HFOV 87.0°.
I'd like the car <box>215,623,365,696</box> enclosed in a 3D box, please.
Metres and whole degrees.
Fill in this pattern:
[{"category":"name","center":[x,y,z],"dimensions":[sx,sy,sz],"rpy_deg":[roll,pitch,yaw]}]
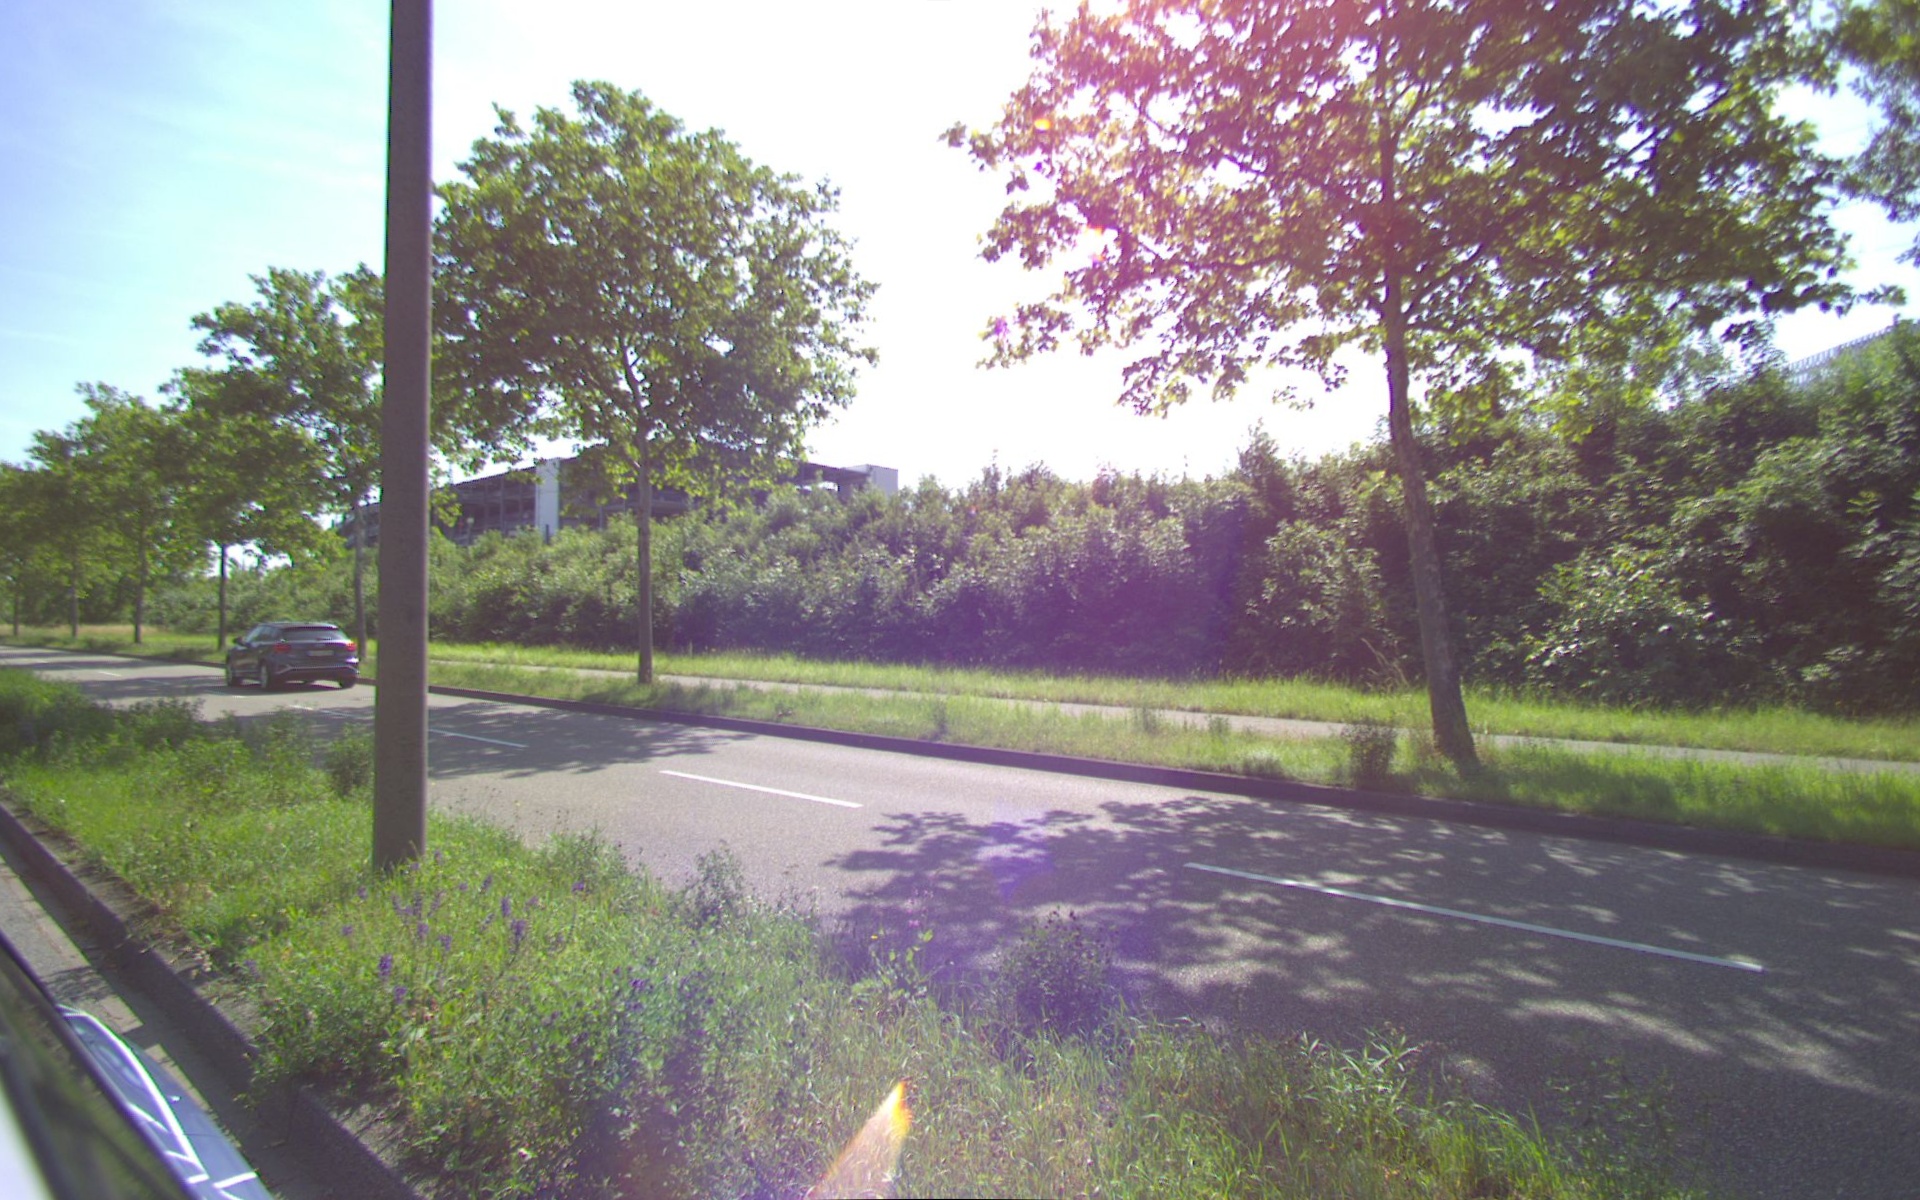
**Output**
[{"category":"car","center":[-15.343,1.281,23.112],"dimensions":[3.935,1.478,1.844],"rpy_deg":[0,-1,40]}]
